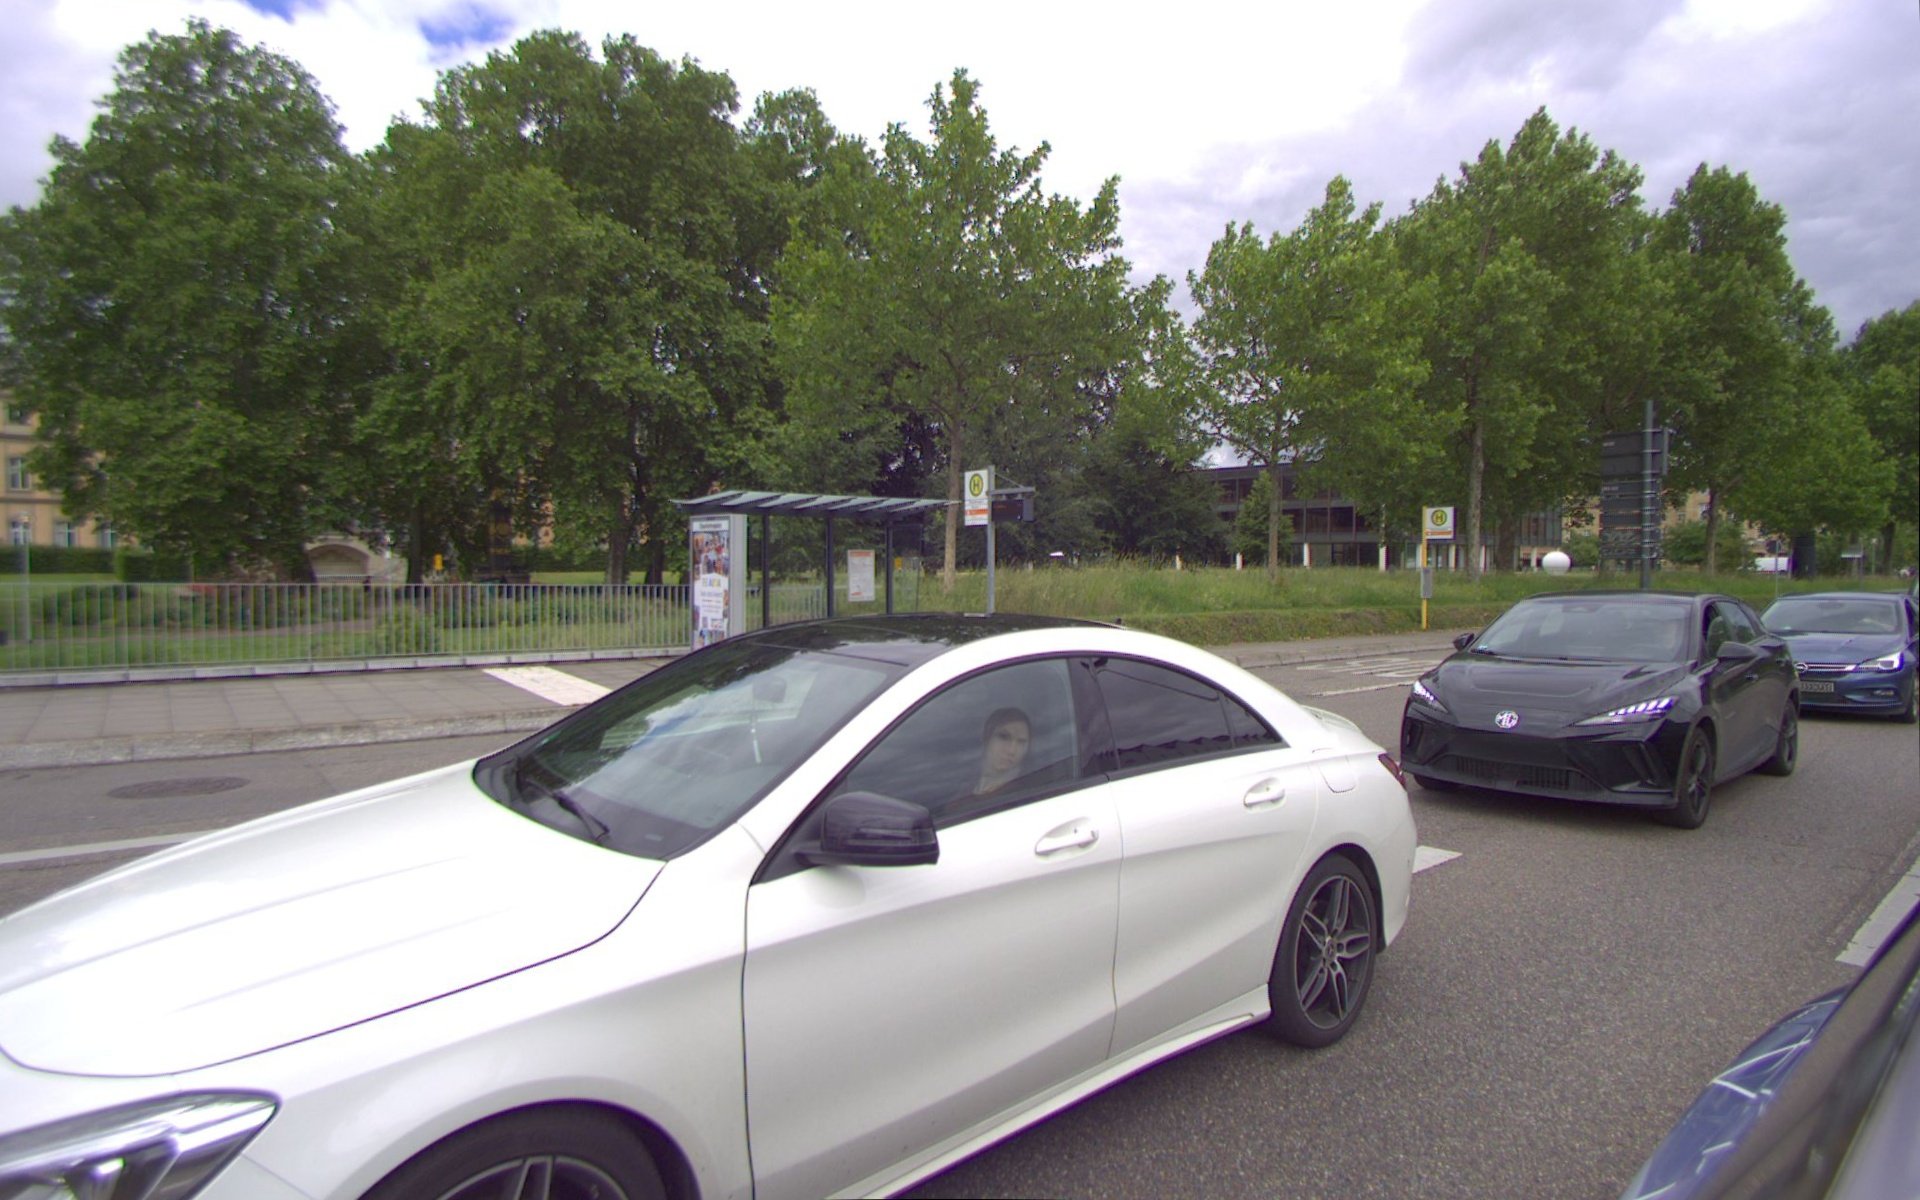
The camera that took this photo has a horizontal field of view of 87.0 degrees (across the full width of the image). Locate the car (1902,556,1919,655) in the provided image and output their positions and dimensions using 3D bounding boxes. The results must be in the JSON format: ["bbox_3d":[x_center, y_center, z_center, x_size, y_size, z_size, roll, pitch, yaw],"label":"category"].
[{"bbox_3d":[20.283,0.066,19.888,4.720,1.856,2.020,-1,2,-40],"label":"car"}]

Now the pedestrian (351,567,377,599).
[{"bbox_3d":[-39.017,-1.121,66.228,1.086,2.039,0.942,-2,0,4],"label":"pedestrian"}]

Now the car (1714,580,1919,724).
[{"bbox_3d":[10.935,0.503,12.448,3.944,1.452,1.804,-1,2,-40],"label":"car"}]

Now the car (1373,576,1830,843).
[{"bbox_3d":[5.074,0.584,7.807,4.020,1.508,1.852,-1,2,-40],"label":"car"}]

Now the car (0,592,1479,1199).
[{"bbox_3d":[-0.236,0.738,3.276,4.446,1.437,1.798,-1,2,-39],"label":"car"}]

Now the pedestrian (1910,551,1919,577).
[{"bbox_3d":[76.139,-2.844,80.334,1.160,2.039,0.891,-2,0,-40],"label":"pedestrian"}]

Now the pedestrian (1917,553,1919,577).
[{"bbox_3d":[81.328,-2.969,85.211,1.160,2.039,0.891,-2,0,-40],"label":"pedestrian"}]
